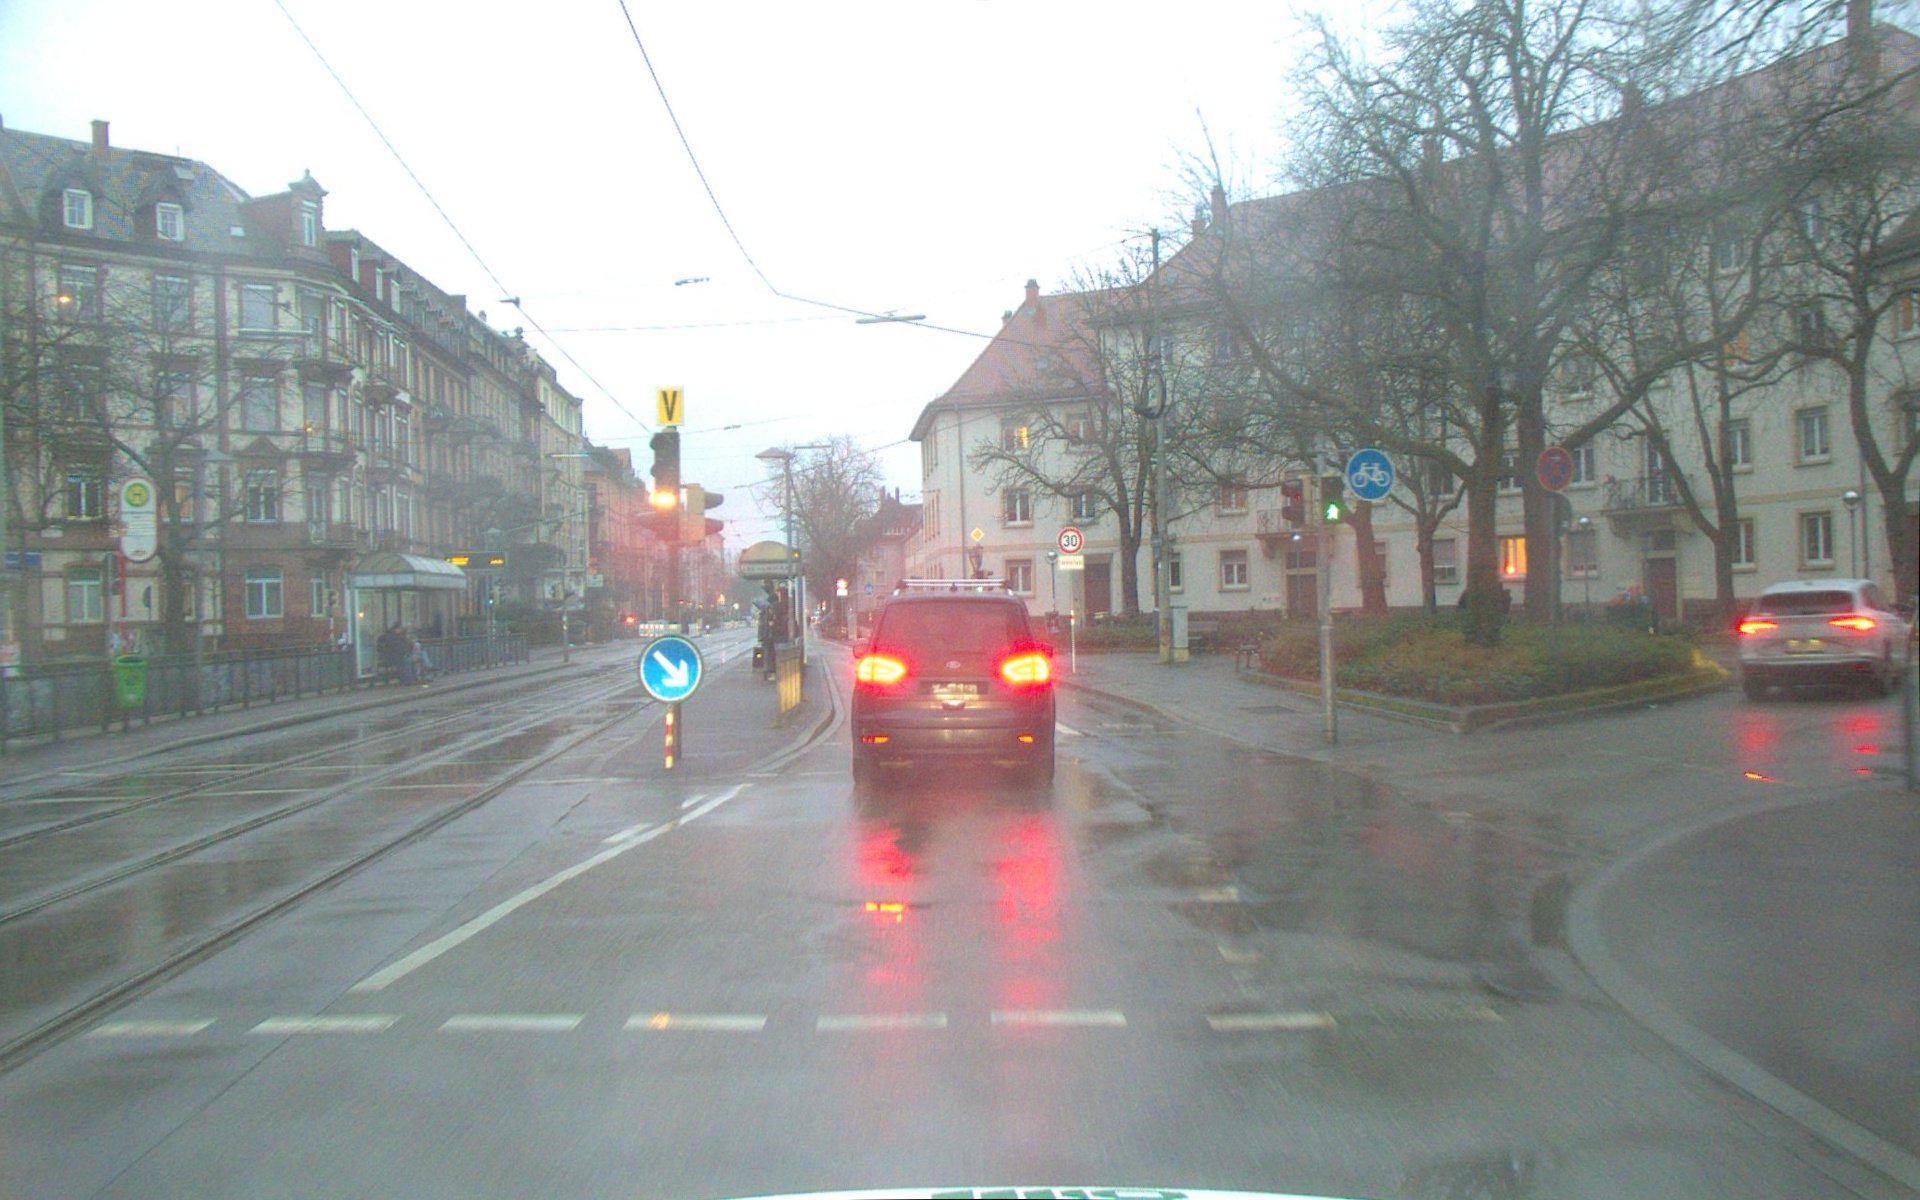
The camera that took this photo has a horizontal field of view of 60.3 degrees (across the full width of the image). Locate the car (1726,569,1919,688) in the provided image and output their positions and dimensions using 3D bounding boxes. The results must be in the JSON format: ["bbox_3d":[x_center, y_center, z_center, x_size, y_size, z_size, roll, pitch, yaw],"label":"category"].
[{"bbox_3d":[12.679,0.412,23.854,1.864,1.536,4.729,1,-1,39],"label":"car"}]

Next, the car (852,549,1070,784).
[{"bbox_3d":[-0.112,0.577,15.693,1.766,1.903,4.014,1,-1,-4],"label":"car"}]

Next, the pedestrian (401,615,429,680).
[{"bbox_3d":[-12.193,1.053,37.025,0.464,1.428,0.453,1,-1,-6],"label":"pedestrian"}]

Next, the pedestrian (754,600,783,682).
[{"bbox_3d":[-4.174,0.892,36.088,0.546,1.771,0.570,1,-1,-5],"label":"pedestrian"}]

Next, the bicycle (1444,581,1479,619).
[{"bbox_3d":[17.891,0.014,59.023,0.457,1.314,1.912,-2,0,-5],"label":"bicycle"}]

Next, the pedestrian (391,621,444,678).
[{"bbox_3d":[-12.505,1.147,38.109,1.035,1.276,0.506,1,-1,-6],"label":"pedestrian"}]

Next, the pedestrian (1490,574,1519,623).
[{"bbox_3d":[19.389,-0.057,58.872,0.703,1.689,0.683,-2,0,44],"label":"pedestrian"}]

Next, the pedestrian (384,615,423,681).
[{"bbox_3d":[-12.276,1.045,36.502,0.671,1.428,0.577,1,-1,-6],"label":"pedestrian"}]

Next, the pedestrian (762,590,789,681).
[{"bbox_3d":[-4.139,0.789,37.154,0.546,2.022,0.570,1,-1,-5],"label":"pedestrian"}]

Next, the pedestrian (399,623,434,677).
[{"bbox_3d":[-12.681,1.169,38.629,0.640,1.240,0.516,1,-1,-6],"label":"pedestrian"}]

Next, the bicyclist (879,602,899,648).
[{"bbox_3d":[-2.783,0.988,64.991,0.716,1.767,0.765,-1,-1,-4],"label":"bicyclist"}]

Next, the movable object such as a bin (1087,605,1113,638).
[{"bbox_3d":[5.568,0.847,65.838,0.837,1.273,0.520,1,-1,37],"label":"movable object such as a bin"}]

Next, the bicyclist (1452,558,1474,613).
[{"bbox_3d":[17.901,-0.506,58.847,0.457,1.919,0.679,-2,-1,-5],"label":"bicyclist"}]

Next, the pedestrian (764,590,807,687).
[{"bbox_3d":[-3.650,0.800,34.642,0.837,1.990,0.570,1,-1,-5],"label":"pedestrian"}]

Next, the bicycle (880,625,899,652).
[{"bbox_3d":[-2.774,1.496,64.953,0.717,1.024,1.762,-1,-1,-4],"label":"bicycle"}]
